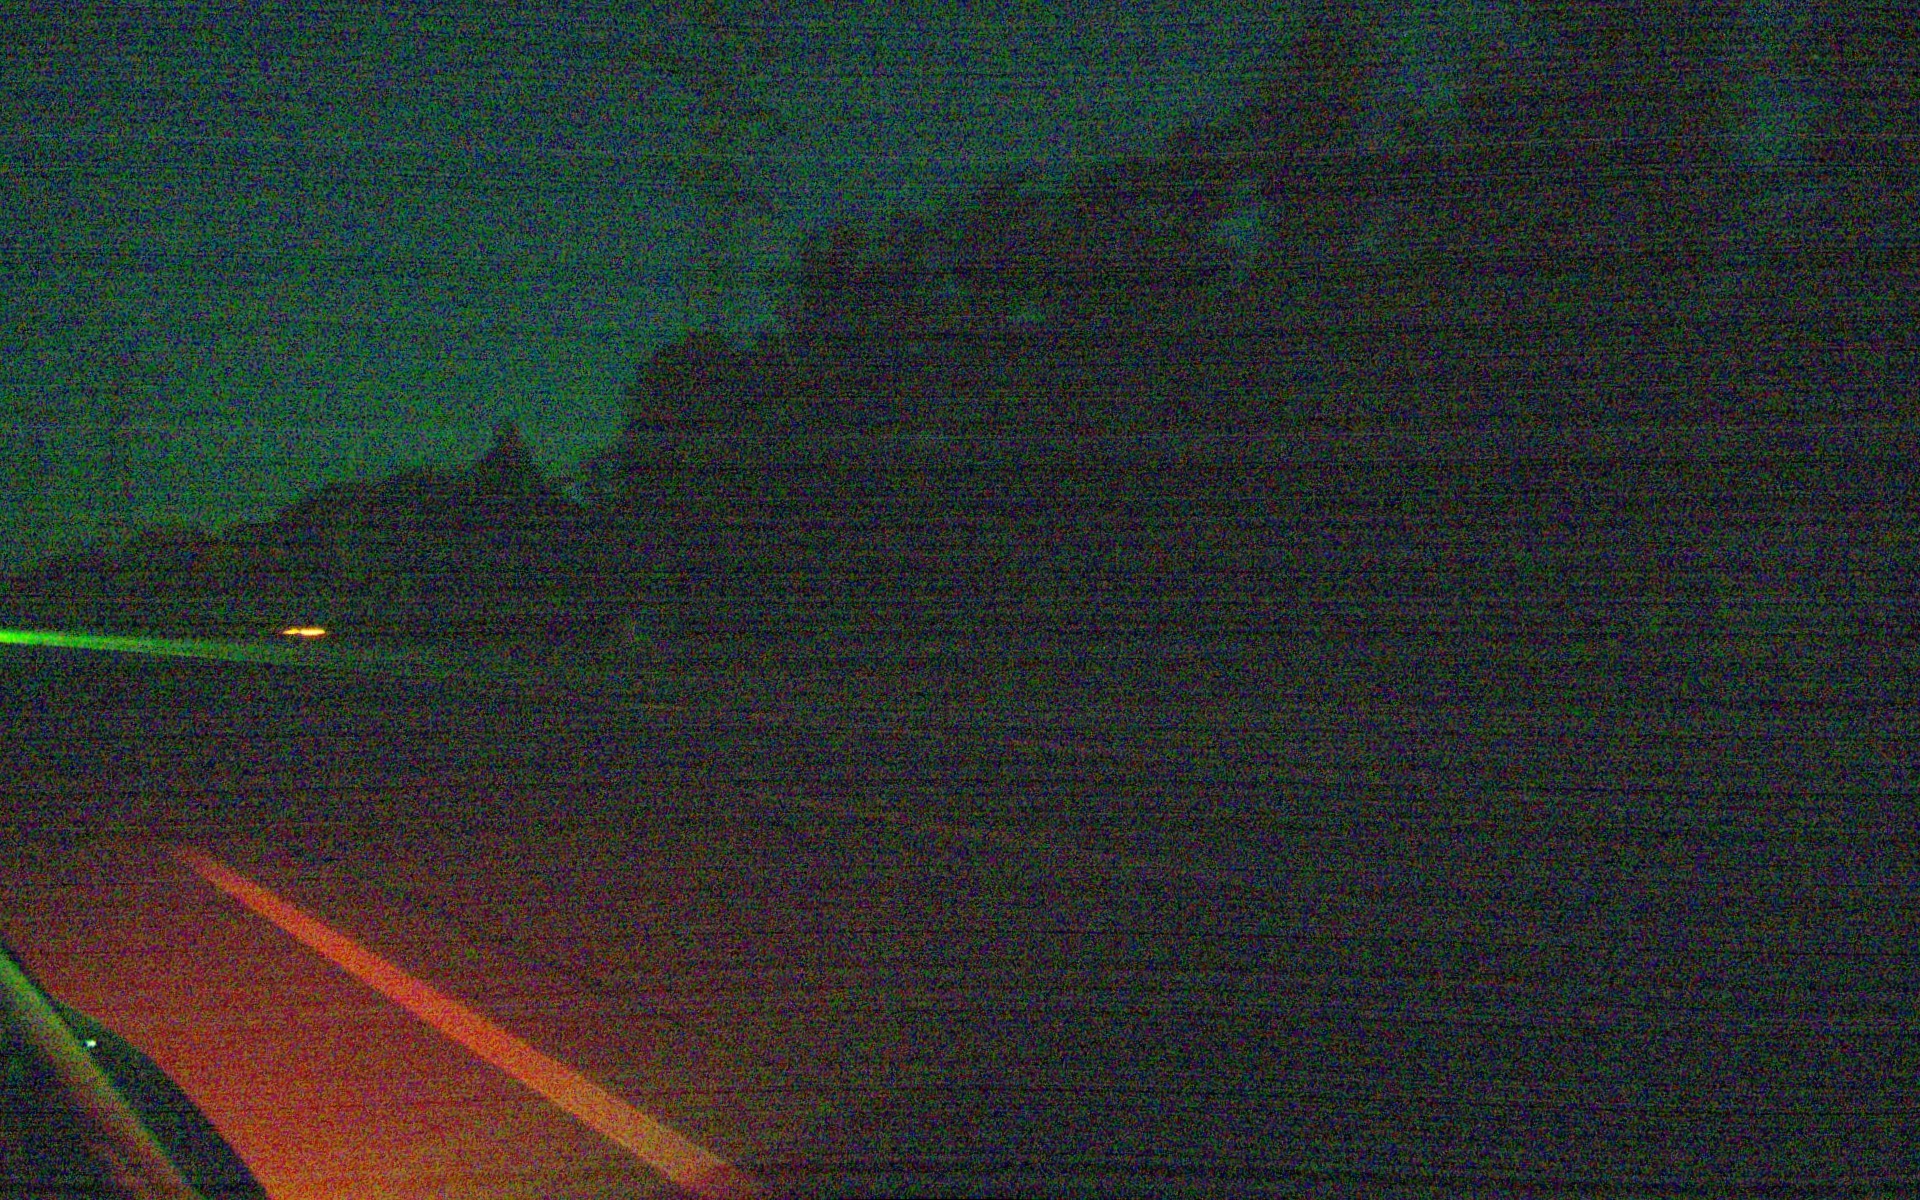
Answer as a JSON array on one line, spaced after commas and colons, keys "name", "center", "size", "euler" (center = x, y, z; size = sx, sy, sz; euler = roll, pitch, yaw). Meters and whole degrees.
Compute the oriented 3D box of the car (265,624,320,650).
[{"name": "car", "center": [-45.692, 2.512, 69.262], "size": [4.698, 1.658, 1.879], "euler": [-1, -1, 40]}]
